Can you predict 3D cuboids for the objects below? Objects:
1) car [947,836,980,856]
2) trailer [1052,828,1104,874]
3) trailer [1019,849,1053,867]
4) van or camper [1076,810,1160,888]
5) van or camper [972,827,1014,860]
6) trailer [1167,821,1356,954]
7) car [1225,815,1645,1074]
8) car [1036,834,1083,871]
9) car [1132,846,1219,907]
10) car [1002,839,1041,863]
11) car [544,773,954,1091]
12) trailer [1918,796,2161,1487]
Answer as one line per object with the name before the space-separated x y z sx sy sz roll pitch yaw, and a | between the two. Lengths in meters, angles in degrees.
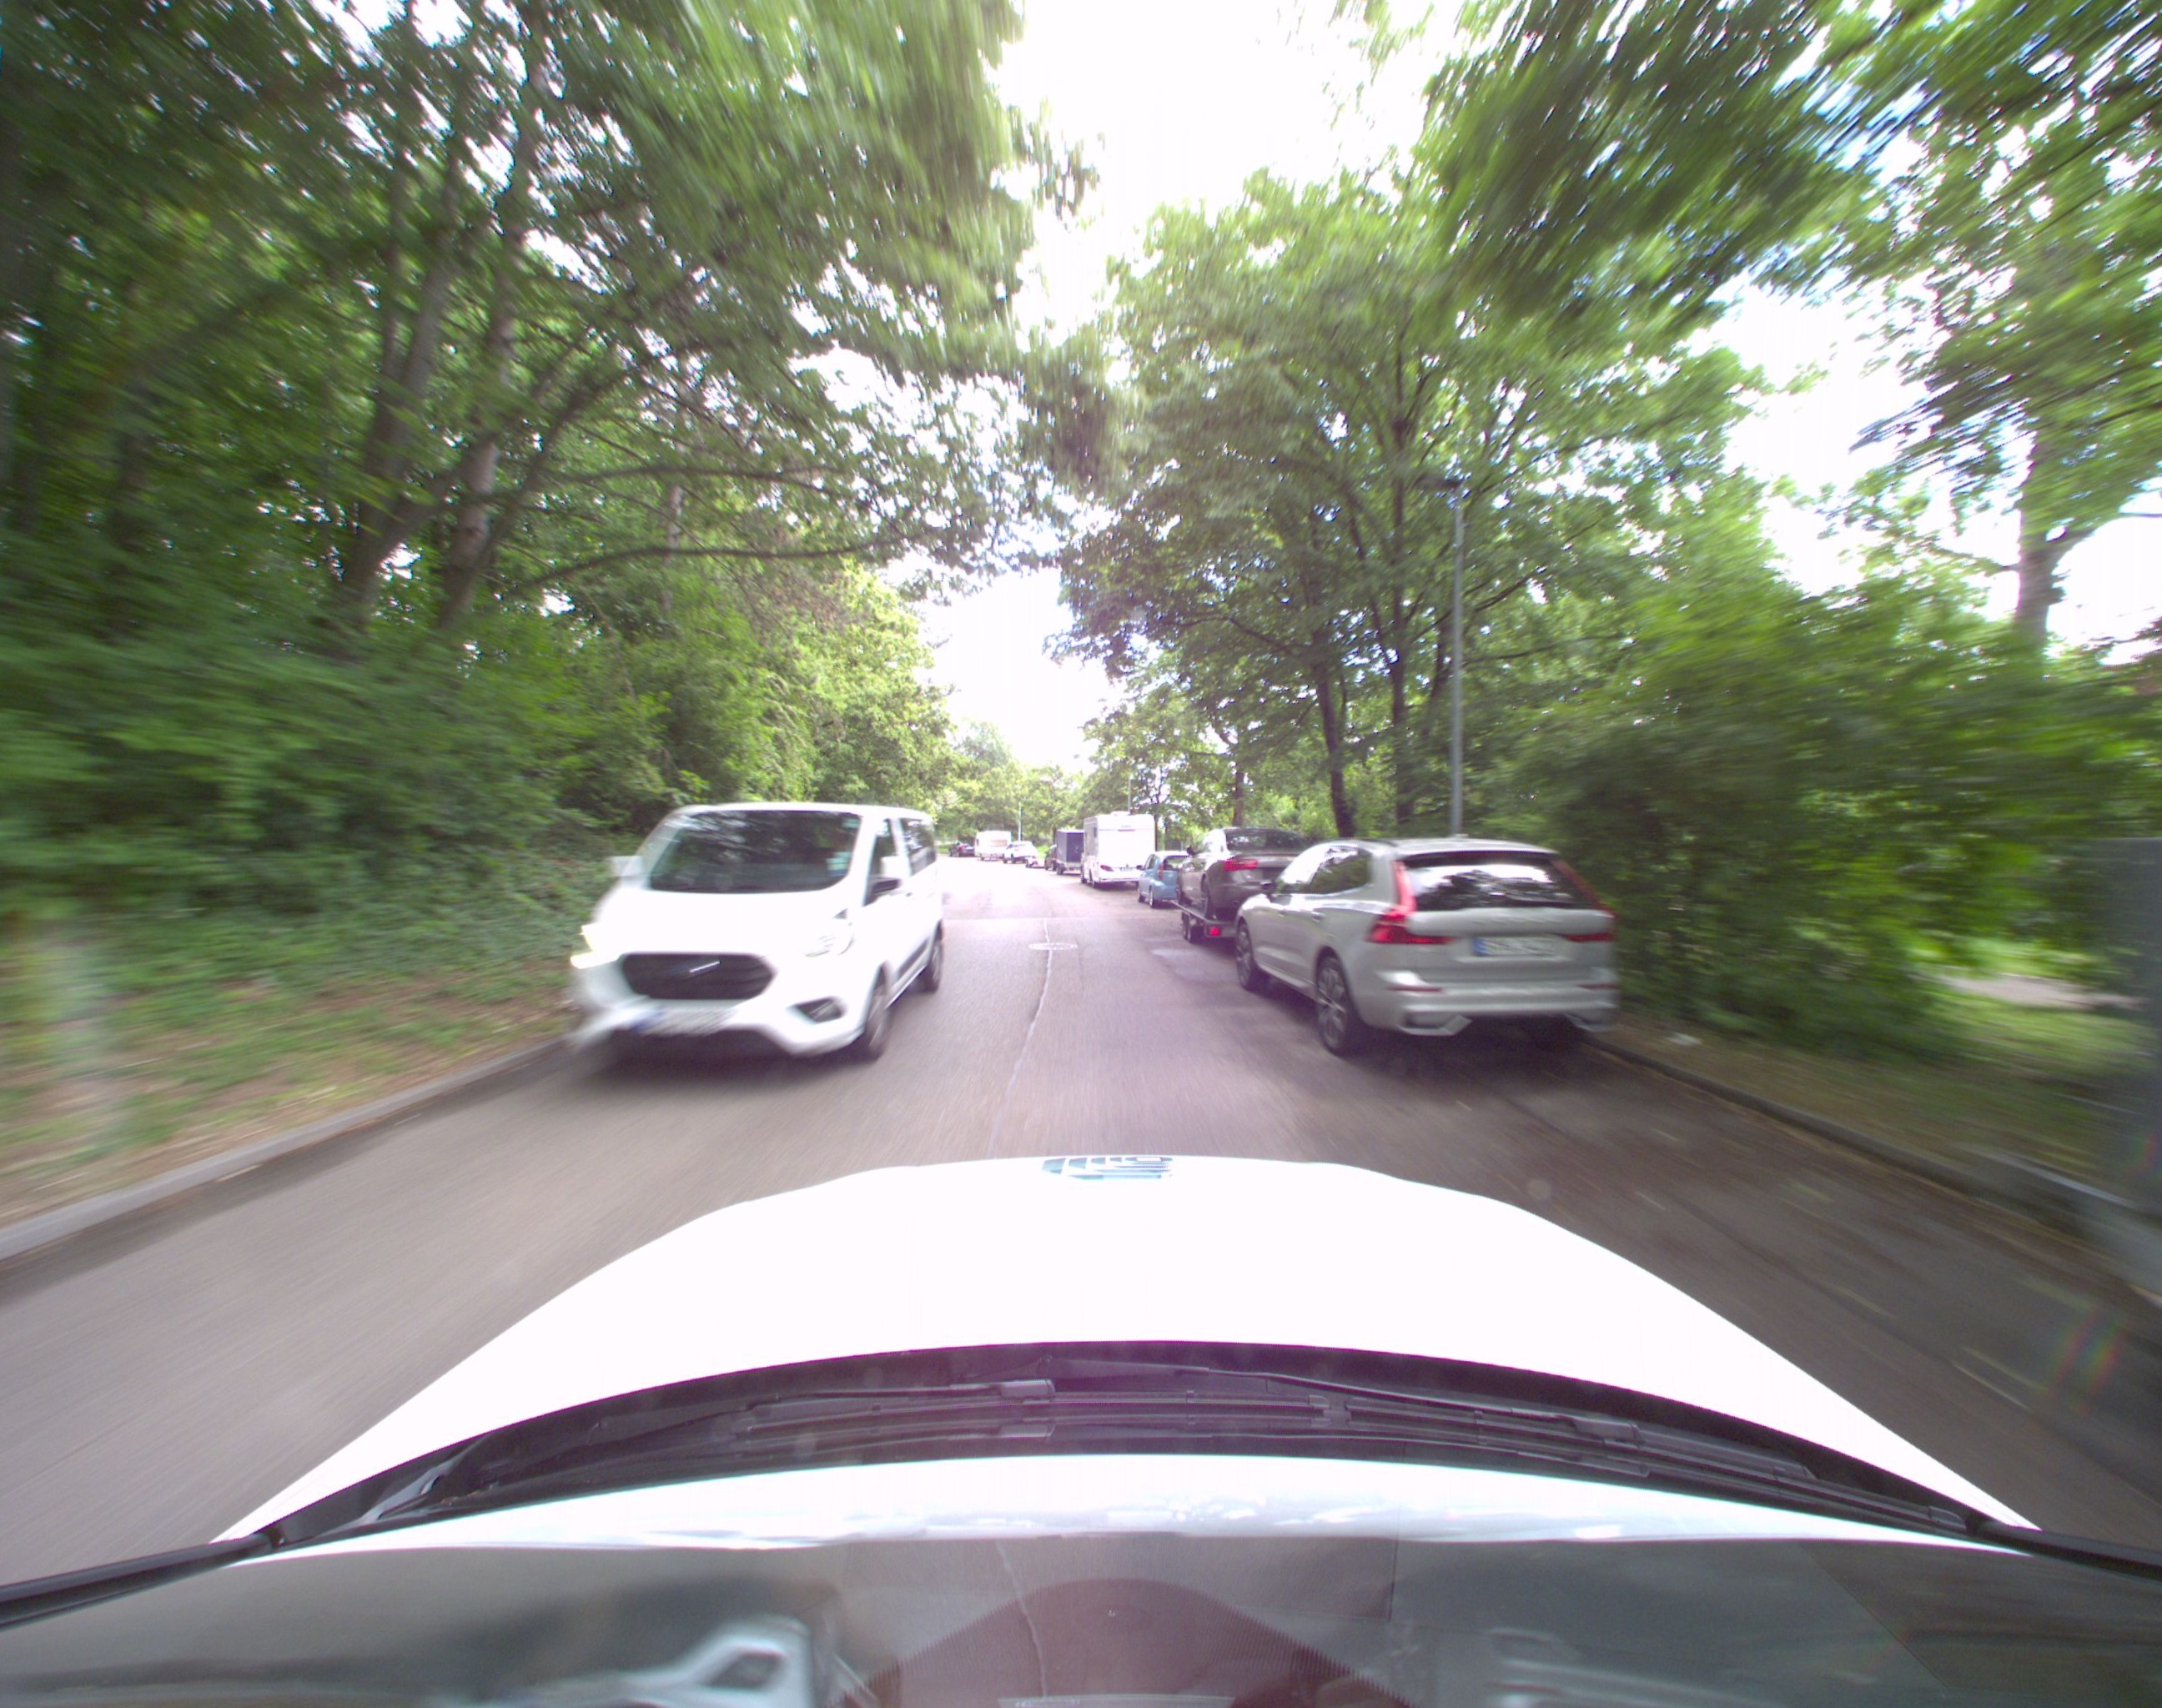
car | -11.617 -0.805 80.123 2.004 1.869 3.966 -2 2 -27
trailer | -0.204 -0.173 44.429 1.996 2.398 3.982 0 0 -14
trailer | -3.004 0.247 53.424 1.652 1.086 3.985 -2 1 -11
van or camper | 1.359 -0.200 33.550 2.479 2.876 6.876 0 0 -6
van or camper | -7.660 -0.911 70.723 2.536 2.697 4.543 -1 1 -21
trailer | 2.750 0.423 13.727 1.973 1.811 5.146 0 1 -1
car | 2.716 0.626 7.564 1.788 1.670 4.497 0 -1 -3
car | -1.370 -0.147 49.604 1.997 2.025 3.981 -3 2 -14
car | 2.586 0.558 23.100 1.796 1.562 3.830 0 1 -4
car | -4.609 -0.259 62.580 2.041 1.803 4.057 -1 1 -19
car | -2.426 0.478 7.362 1.942 1.984 4.499 0 0 -2
trailer | 3.097 0.666 1.192 1.274 1.585 2.461 0 0 2
